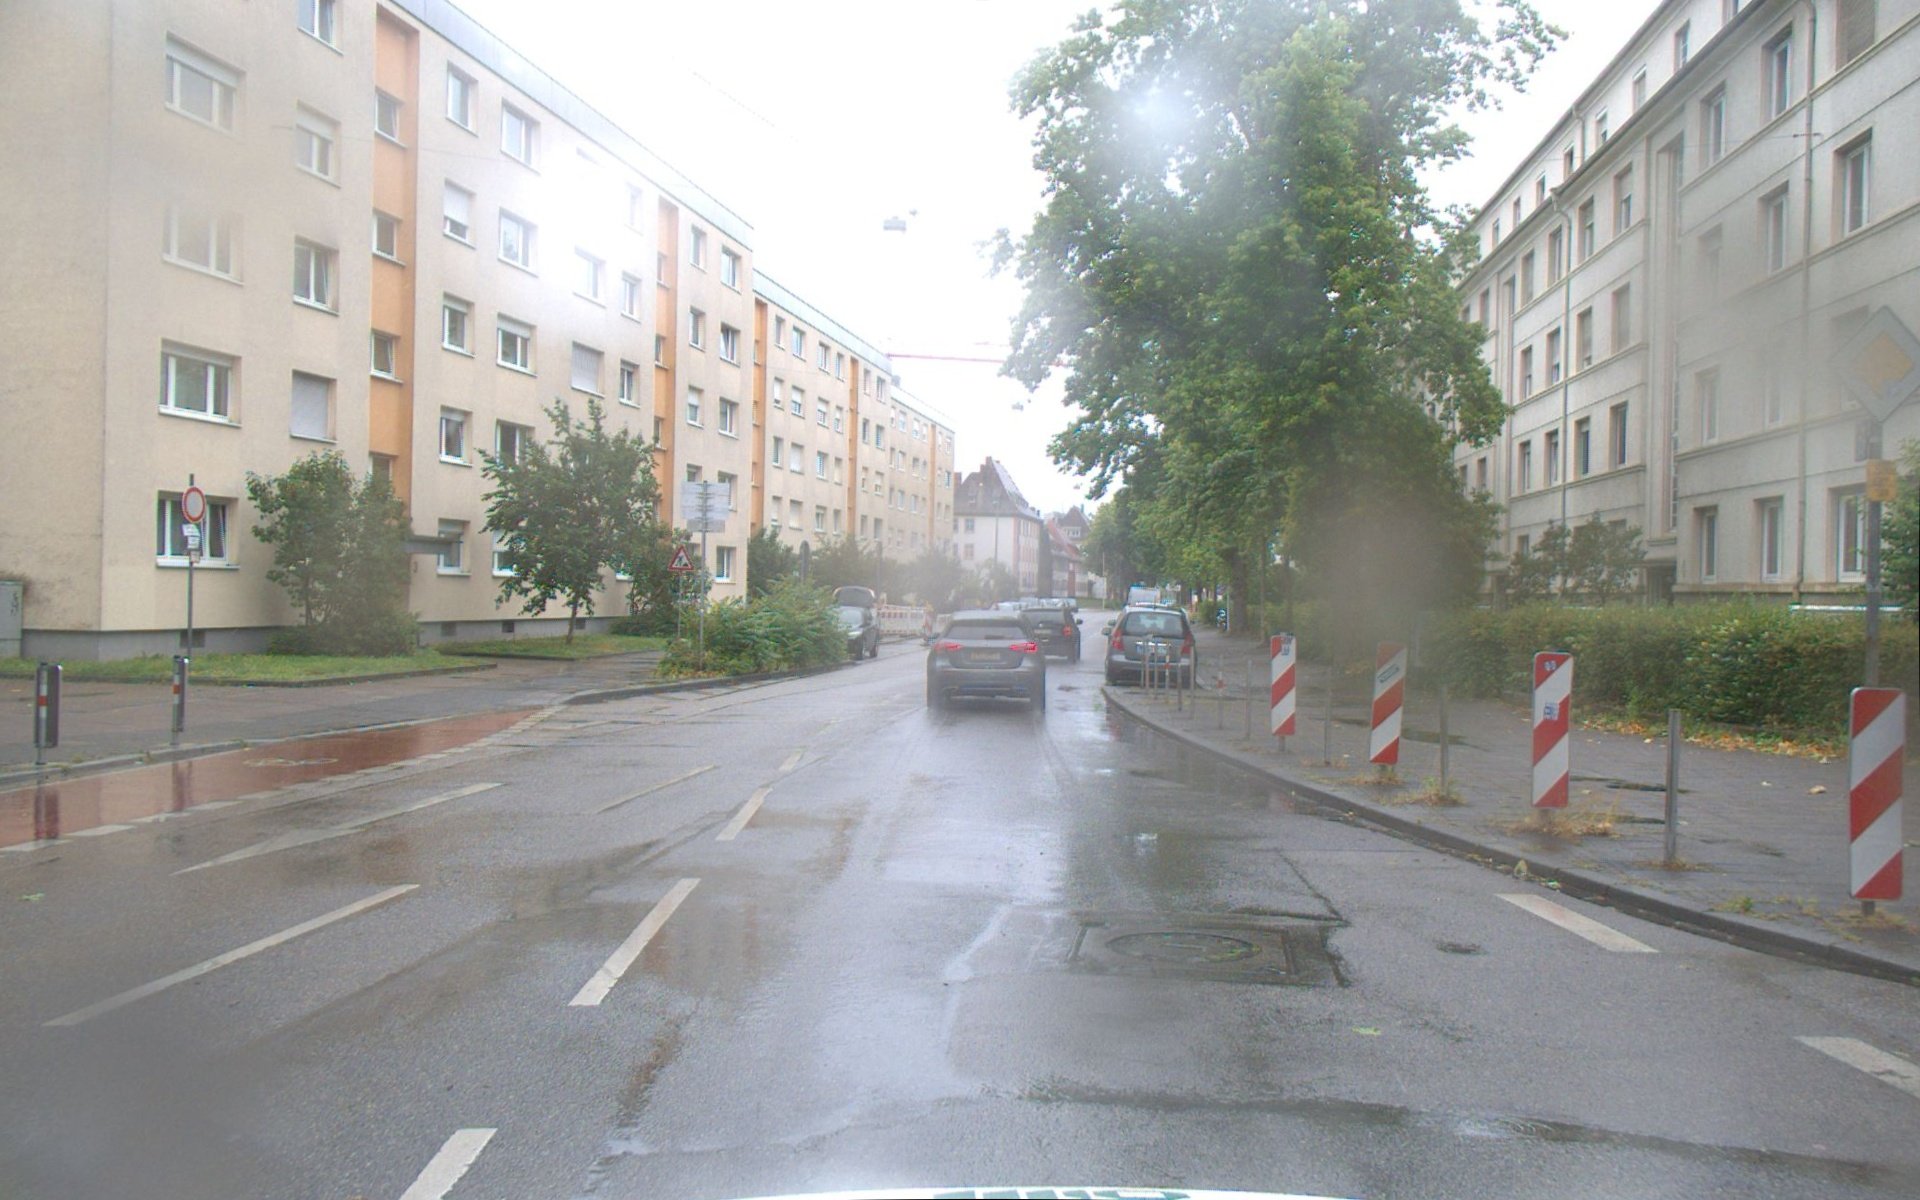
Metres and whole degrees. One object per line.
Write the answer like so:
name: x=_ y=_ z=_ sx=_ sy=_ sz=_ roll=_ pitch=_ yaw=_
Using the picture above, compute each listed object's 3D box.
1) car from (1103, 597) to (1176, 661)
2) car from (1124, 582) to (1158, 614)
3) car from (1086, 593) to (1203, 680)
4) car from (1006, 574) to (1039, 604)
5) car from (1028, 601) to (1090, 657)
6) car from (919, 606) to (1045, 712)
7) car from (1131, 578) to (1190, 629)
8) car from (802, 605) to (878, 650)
car: x=4.828 y=0.744 z=44.471 sx=1.849 sy=1.601 sz=4.003 roll=1 pitch=0 yaw=6
car: x=11.039 y=-0.101 z=100.784 sx=2.003 sy=1.868 sz=4.795 roll=1 pitch=0 yaw=6
car: x=3.596 y=0.680 z=32.869 sx=1.952 sy=1.601 sz=4.001 roll=1 pitch=0 yaw=1
car: x=4.140 y=-0.698 z=108.669 sx=1.849 sy=1.868 sz=4.003 roll=1 pitch=0 yaw=6
car: x=2.603 y=0.736 z=44.027 sx=1.574 sy=1.396 sz=4.001 roll=0 pitch=0 yaw=2
car: x=0.391 y=0.847 z=25.392 sx=1.754 sy=1.396 sz=3.508 roll=2 pitch=0 yaw=2
car: x=6.610 y=0.105 z=54.696 sx=1.849 sy=1.601 sz=4.003 roll=1 pitch=0 yaw=6
car: x=-3.470 y=0.777 z=48.471 sx=1.556 sy=1.227 sz=3.462 roll=1 pitch=0 yaw=7
